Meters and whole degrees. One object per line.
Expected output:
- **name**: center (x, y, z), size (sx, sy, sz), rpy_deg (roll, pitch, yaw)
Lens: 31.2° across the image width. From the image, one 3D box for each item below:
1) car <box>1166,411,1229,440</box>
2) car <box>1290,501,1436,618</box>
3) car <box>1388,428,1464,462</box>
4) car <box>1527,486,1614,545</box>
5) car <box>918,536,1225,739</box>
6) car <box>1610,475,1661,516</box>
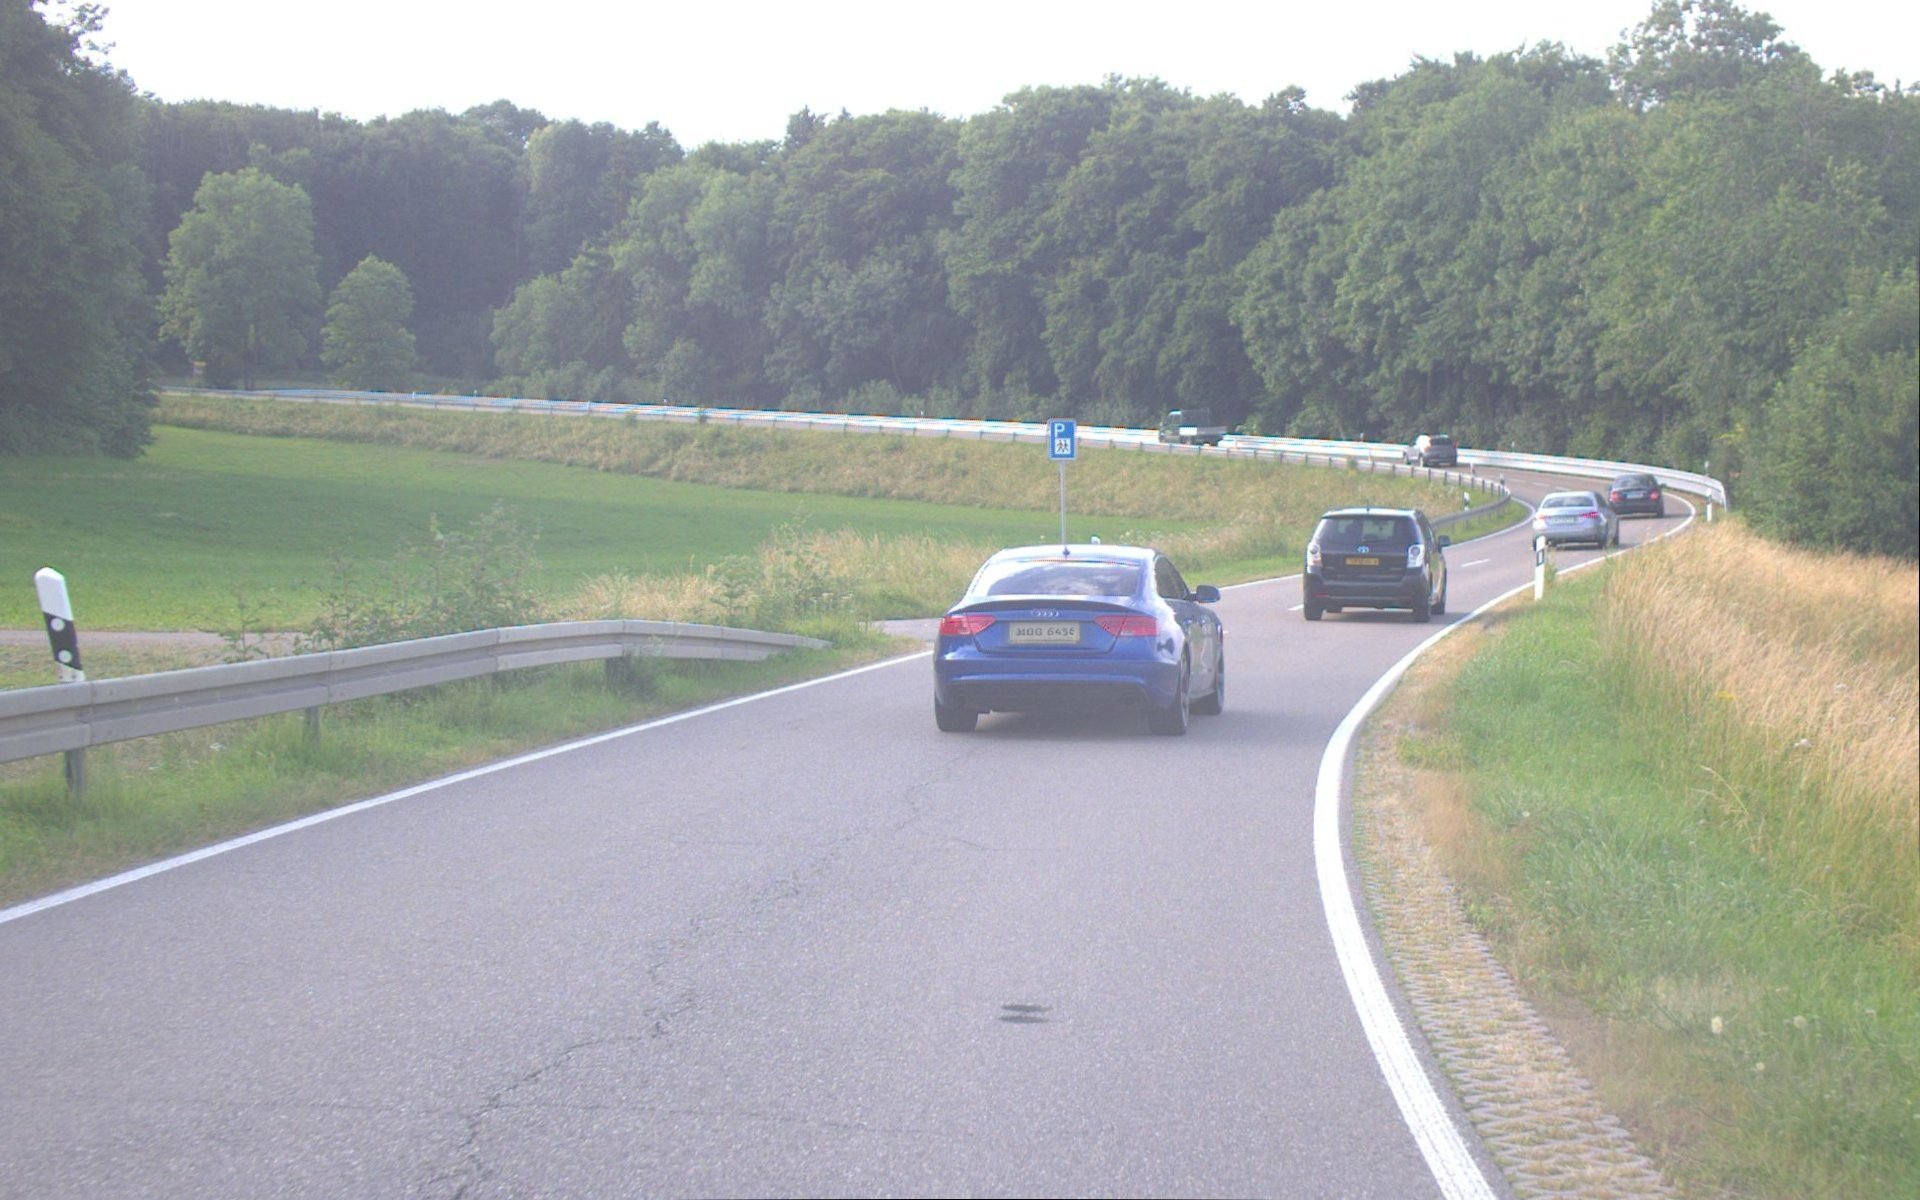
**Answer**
- **car**: center (14.458, -10.656, 209.610), size (1.993, 1.765, 4.001), rpy_deg (-1, 3, -29)
- **car**: center (5.850, -0.588, 49.548), size (1.862, 1.563, 3.999), rpy_deg (-1, 1, 9)
- **car**: center (24.229, -8.068, 178.845), size (1.993, 1.673, 4.180), rpy_deg (-1, 3, -24)
- **car**: center (15.233, -2.089, 85.634), size (1.683, 1.371, 3.997), rpy_deg (-1, 0, 17)
- **car**: center (0.938, 0.218, 26.129), size (1.819, 1.334, 4.349), rpy_deg (1, 2, 9)
- **car**: center (22.072, -3.417, 112.303), size (1.472, 1.223, 3.298), rpy_deg (-1, 2, 14)
